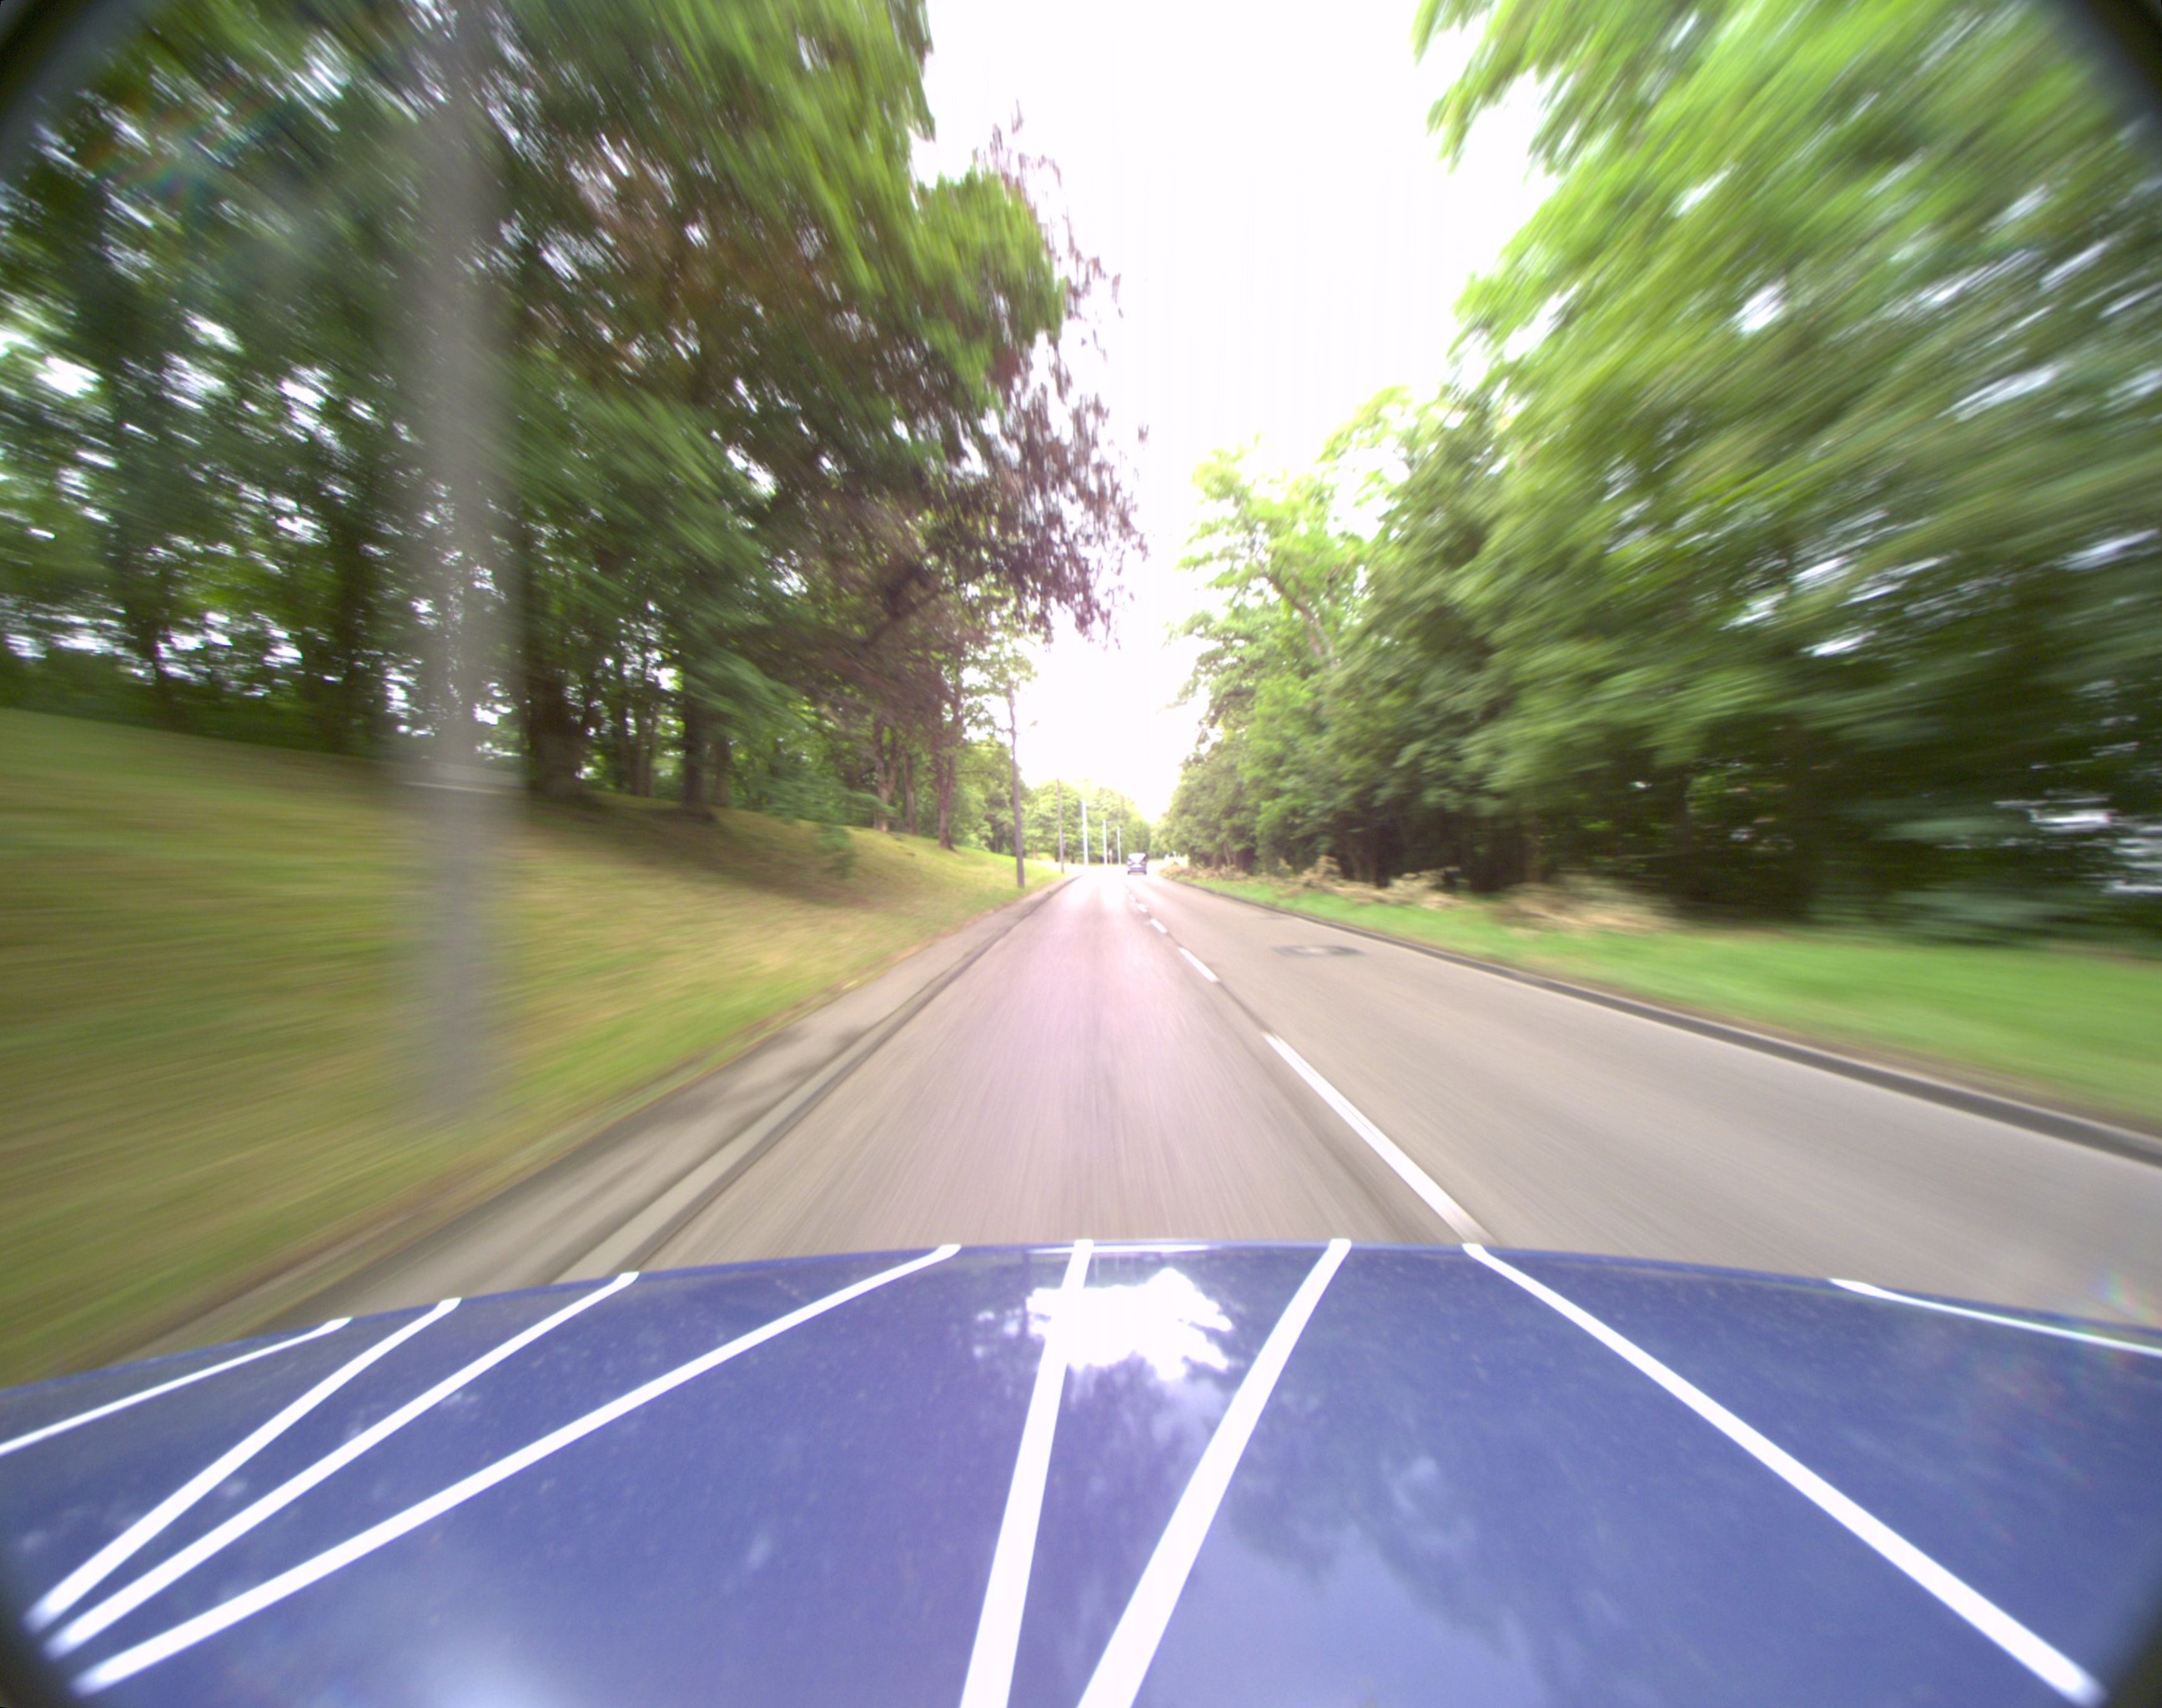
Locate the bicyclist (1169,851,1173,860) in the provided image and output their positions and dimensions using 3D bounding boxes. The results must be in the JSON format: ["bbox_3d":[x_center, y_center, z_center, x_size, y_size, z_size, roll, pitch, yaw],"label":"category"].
[{"bbox_3d":[16.488,0.243,138.722,0.666,1.511,1.272,-2,0,10],"label":"bicyclist"}]

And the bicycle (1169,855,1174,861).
[{"bbox_3d":[16.506,0.662,138.710,0.666,1.068,2.147,-2,0,10],"label":"bicycle"}]

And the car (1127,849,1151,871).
[{"bbox_3d":[5.442,0.577,72.086,1.998,1.936,4.946,-2,0,2],"label":"car"}]
